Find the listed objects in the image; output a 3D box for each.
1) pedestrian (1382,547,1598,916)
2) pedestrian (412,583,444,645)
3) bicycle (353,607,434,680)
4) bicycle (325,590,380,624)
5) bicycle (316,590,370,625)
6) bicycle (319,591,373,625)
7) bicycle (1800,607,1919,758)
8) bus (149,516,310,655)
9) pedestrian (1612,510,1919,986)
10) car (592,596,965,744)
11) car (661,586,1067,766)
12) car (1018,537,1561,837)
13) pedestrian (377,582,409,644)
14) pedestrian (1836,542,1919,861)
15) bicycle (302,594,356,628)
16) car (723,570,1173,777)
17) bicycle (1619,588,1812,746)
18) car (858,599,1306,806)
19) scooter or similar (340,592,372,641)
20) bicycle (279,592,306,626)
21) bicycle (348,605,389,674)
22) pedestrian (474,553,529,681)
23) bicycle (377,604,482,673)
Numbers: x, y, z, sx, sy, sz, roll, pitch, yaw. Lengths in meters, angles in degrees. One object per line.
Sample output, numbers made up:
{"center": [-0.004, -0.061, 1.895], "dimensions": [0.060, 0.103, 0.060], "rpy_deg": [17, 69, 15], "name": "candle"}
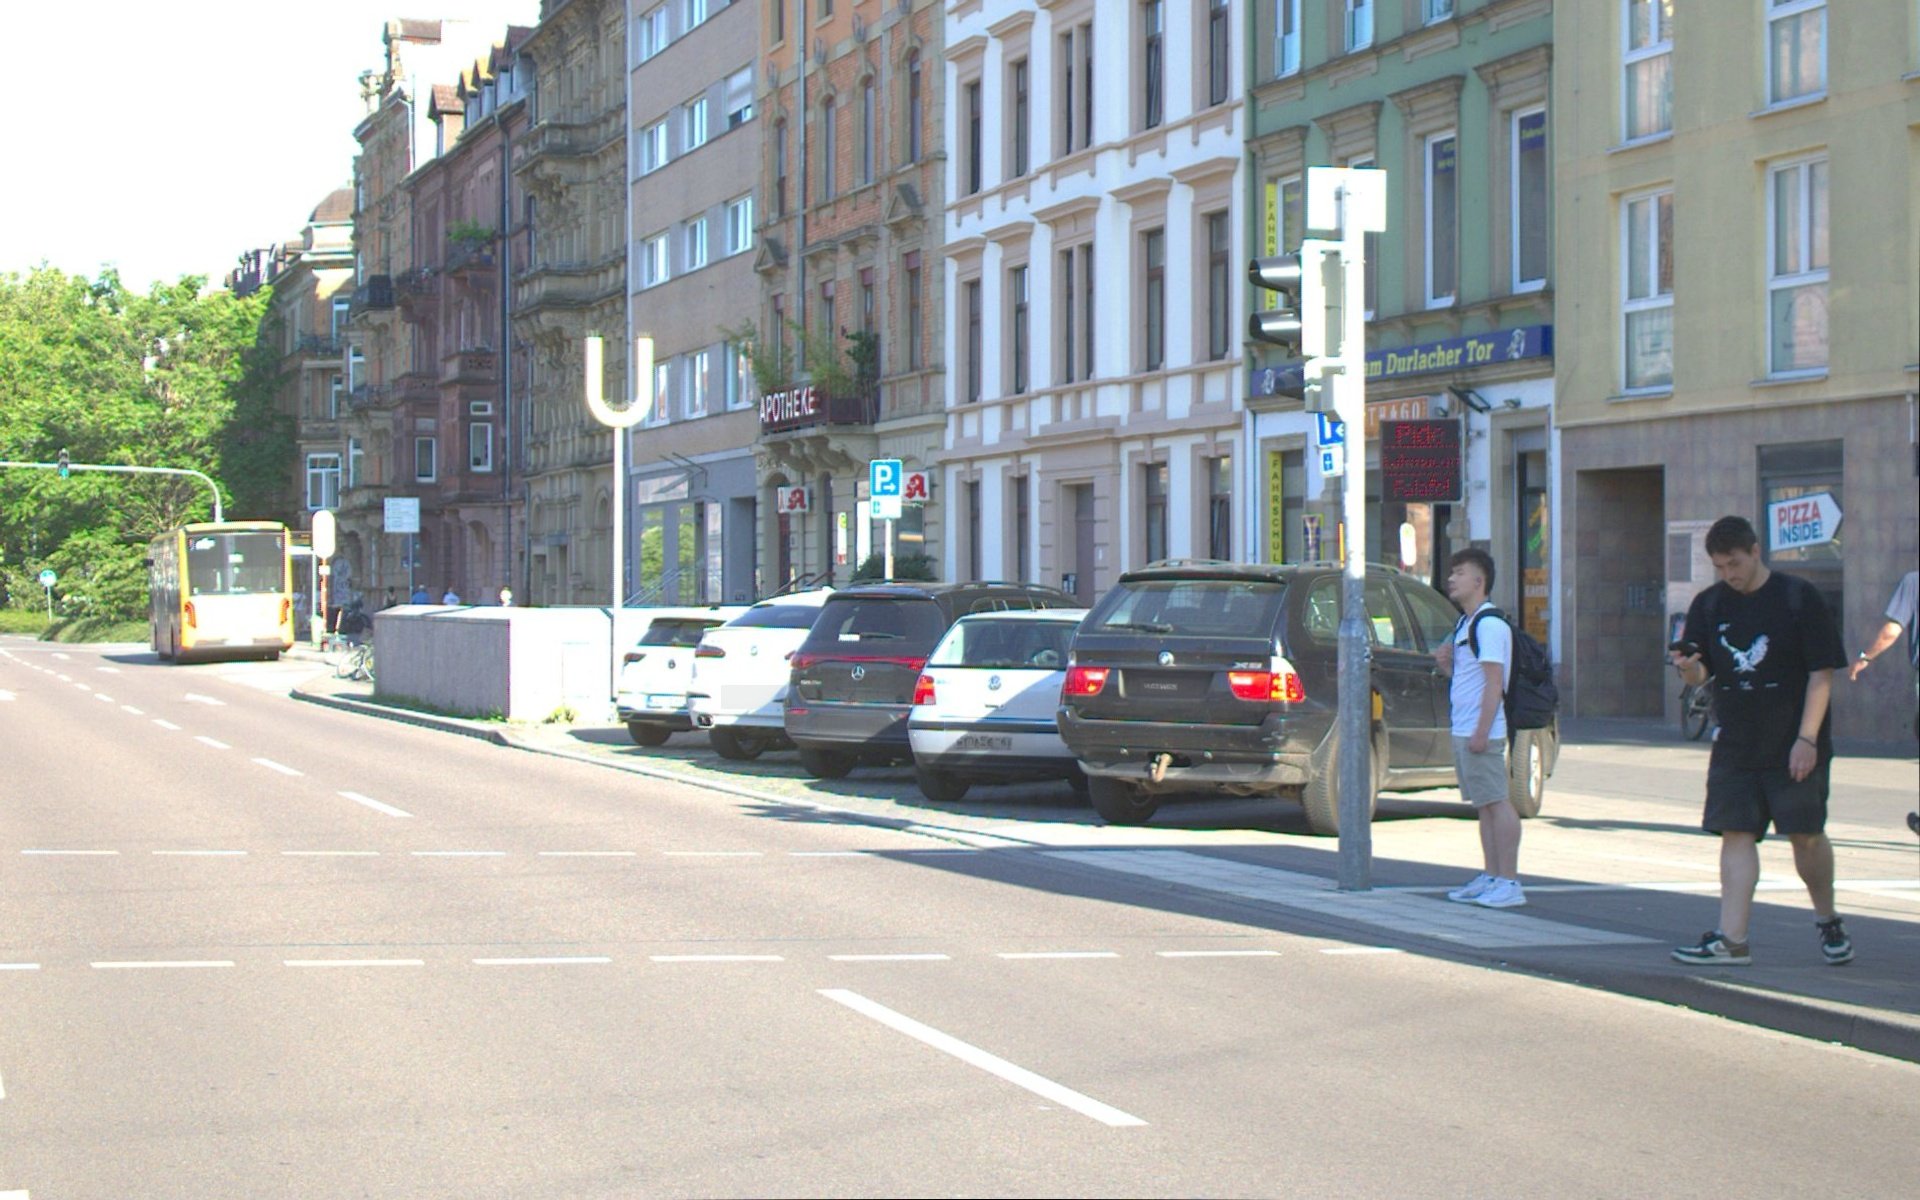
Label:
{"center": [2.546, 0.609, 16.540], "dimensions": [0.696, 1.722, 0.753], "rpy_deg": [0, 0, -33], "name": "pedestrian"}
{"center": [-16.603, 0.435, 107.257], "dimensions": [0.822, 1.923, 1.137], "rpy_deg": [0, 0, -17], "name": "pedestrian"}
{"center": [-9.436, 0.717, 57.185], "dimensions": [0.469, 1.143, 1.770], "rpy_deg": [0, 1, -40], "name": "bicycle"}
{"center": [-22.356, 0.254, 126.530], "dimensions": [1.883, 1.234, 0.490], "rpy_deg": [-1, -1, -29], "name": "bicycle"}
{"center": [-23.002, 0.271, 128.156], "dimensions": [1.883, 1.234, 0.490], "rpy_deg": [-1, -1, -29], "name": "bicycle"}
{"center": [-22.795, 0.302, 127.604], "dimensions": [1.883, 1.234, 0.490], "rpy_deg": [-1, -1, -29], "name": "bicycle"}
{"center": [8.454, 0.701, 29.394], "dimensions": [0.984, 1.259, 3.062], "rpy_deg": [0, 0, -18], "name": "bicycle"}
{"center": [-18.213, -0.368, 85.082], "dimensions": [2.714, 3.170, 12.544], "rpy_deg": [-1, 1, -17], "name": "bus"}
{"center": [3.058, 0.530, 13.022], "dimensions": [0.869, 1.722, 0.793], "rpy_deg": [0, 0, 41], "name": "pedestrian"}
{"center": [-1.853, 0.698, 36.362], "dimensions": [1.959, 1.459, 4.105], "rpy_deg": [0, 0, 31], "name": "car"}
{"center": [-0.835, 0.700, 32.842], "dimensions": [1.957, 1.565, 4.244], "rpy_deg": [1, 0, 29], "name": "car"}
{"center": [2.332, 0.552, 23.288], "dimensions": [1.957, 1.808, 4.243], "rpy_deg": [1, 0, 32], "name": "car"}
{"center": [-17.745, 0.409, 107.634], "dimensions": [0.822, 1.923, 1.137], "rpy_deg": [0, 0, -17], "name": "pedestrian"}
{"center": [5.675, 0.591, 20.467], "dimensions": [0.697, 1.860, 0.752], "rpy_deg": [0, 0, 31], "name": "pedestrian"}
{"center": [-23.682, 0.414, 129.017], "dimensions": [1.883, 1.234, 0.490], "rpy_deg": [-1, -1, -29], "name": "bicycle"}
{"center": [-0.013, 0.602, 29.344], "dimensions": [1.957, 1.592, 4.244], "rpy_deg": [1, 0, 30], "name": "car"}
{"center": [7.275, 0.621, 33.235], "dimensions": [0.929, 1.352, 2.230], "rpy_deg": [-1, 3, -14], "name": "bicycle"}
{"center": [1.005, 0.765, 25.977], "dimensions": [1.786, 1.395, 3.886], "rpy_deg": [1, -1, 29], "name": "car"}
{"center": [-15.661, 0.420, 89.095], "dimensions": [0.431, 1.245, 1.295], "rpy_deg": [-2, 0, -27], "name": "scooter or similar"}
{"center": [-25.291, 0.348, 130.285], "dimensions": [0.489, 1.234, 1.889], "rpy_deg": [-1, -1, -26], "name": "bicycle"}
{"center": [-10.289, 0.674, 59.753], "dimensions": [0.468, 1.143, 1.771], "rpy_deg": [1, 1, -17], "name": "bicycle"}
{"center": [-7.385, 0.262, 55.350], "dimensions": [0.750, 2.006, 0.698], "rpy_deg": [-1, 3, -17], "name": "pedestrian"}
{"center": [-9.356, 0.676, 60.643], "dimensions": [1.764, 1.183, 0.470], "rpy_deg": [1, 1, -17], "name": "bicycle"}
